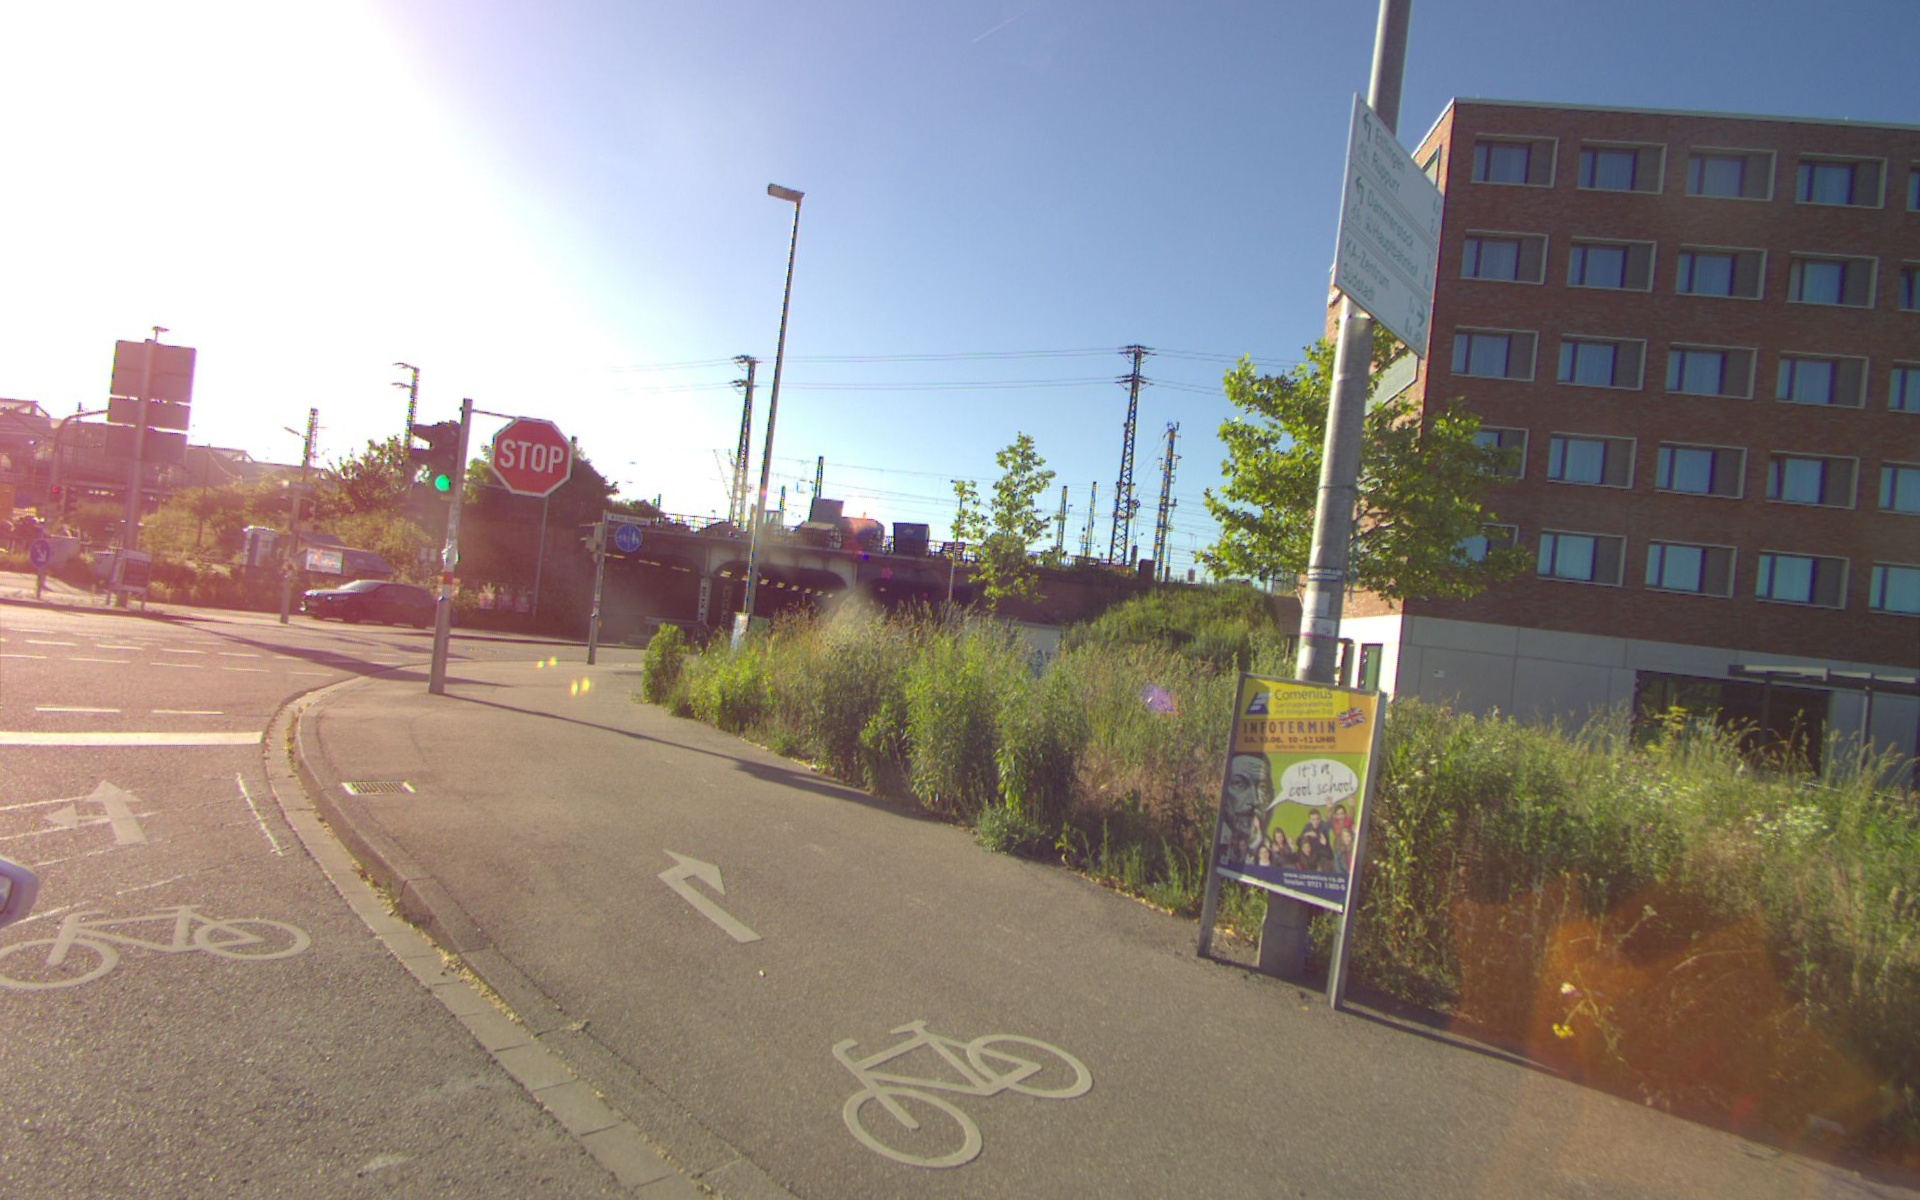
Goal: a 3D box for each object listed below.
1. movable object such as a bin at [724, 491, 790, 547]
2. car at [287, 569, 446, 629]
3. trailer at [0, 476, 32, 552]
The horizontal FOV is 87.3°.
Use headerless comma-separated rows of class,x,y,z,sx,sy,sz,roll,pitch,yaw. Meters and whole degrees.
movable object such as a bin,-11.267,-4.456,56.205,1.962,2.251,4.839,7,-3,7
car,-20.294,0.026,34.616,1.920,1.535,4.391,5,-3,20
trailer,-46.872,-4.260,47.552,6.567,3.329,2.998,5,-3,37
